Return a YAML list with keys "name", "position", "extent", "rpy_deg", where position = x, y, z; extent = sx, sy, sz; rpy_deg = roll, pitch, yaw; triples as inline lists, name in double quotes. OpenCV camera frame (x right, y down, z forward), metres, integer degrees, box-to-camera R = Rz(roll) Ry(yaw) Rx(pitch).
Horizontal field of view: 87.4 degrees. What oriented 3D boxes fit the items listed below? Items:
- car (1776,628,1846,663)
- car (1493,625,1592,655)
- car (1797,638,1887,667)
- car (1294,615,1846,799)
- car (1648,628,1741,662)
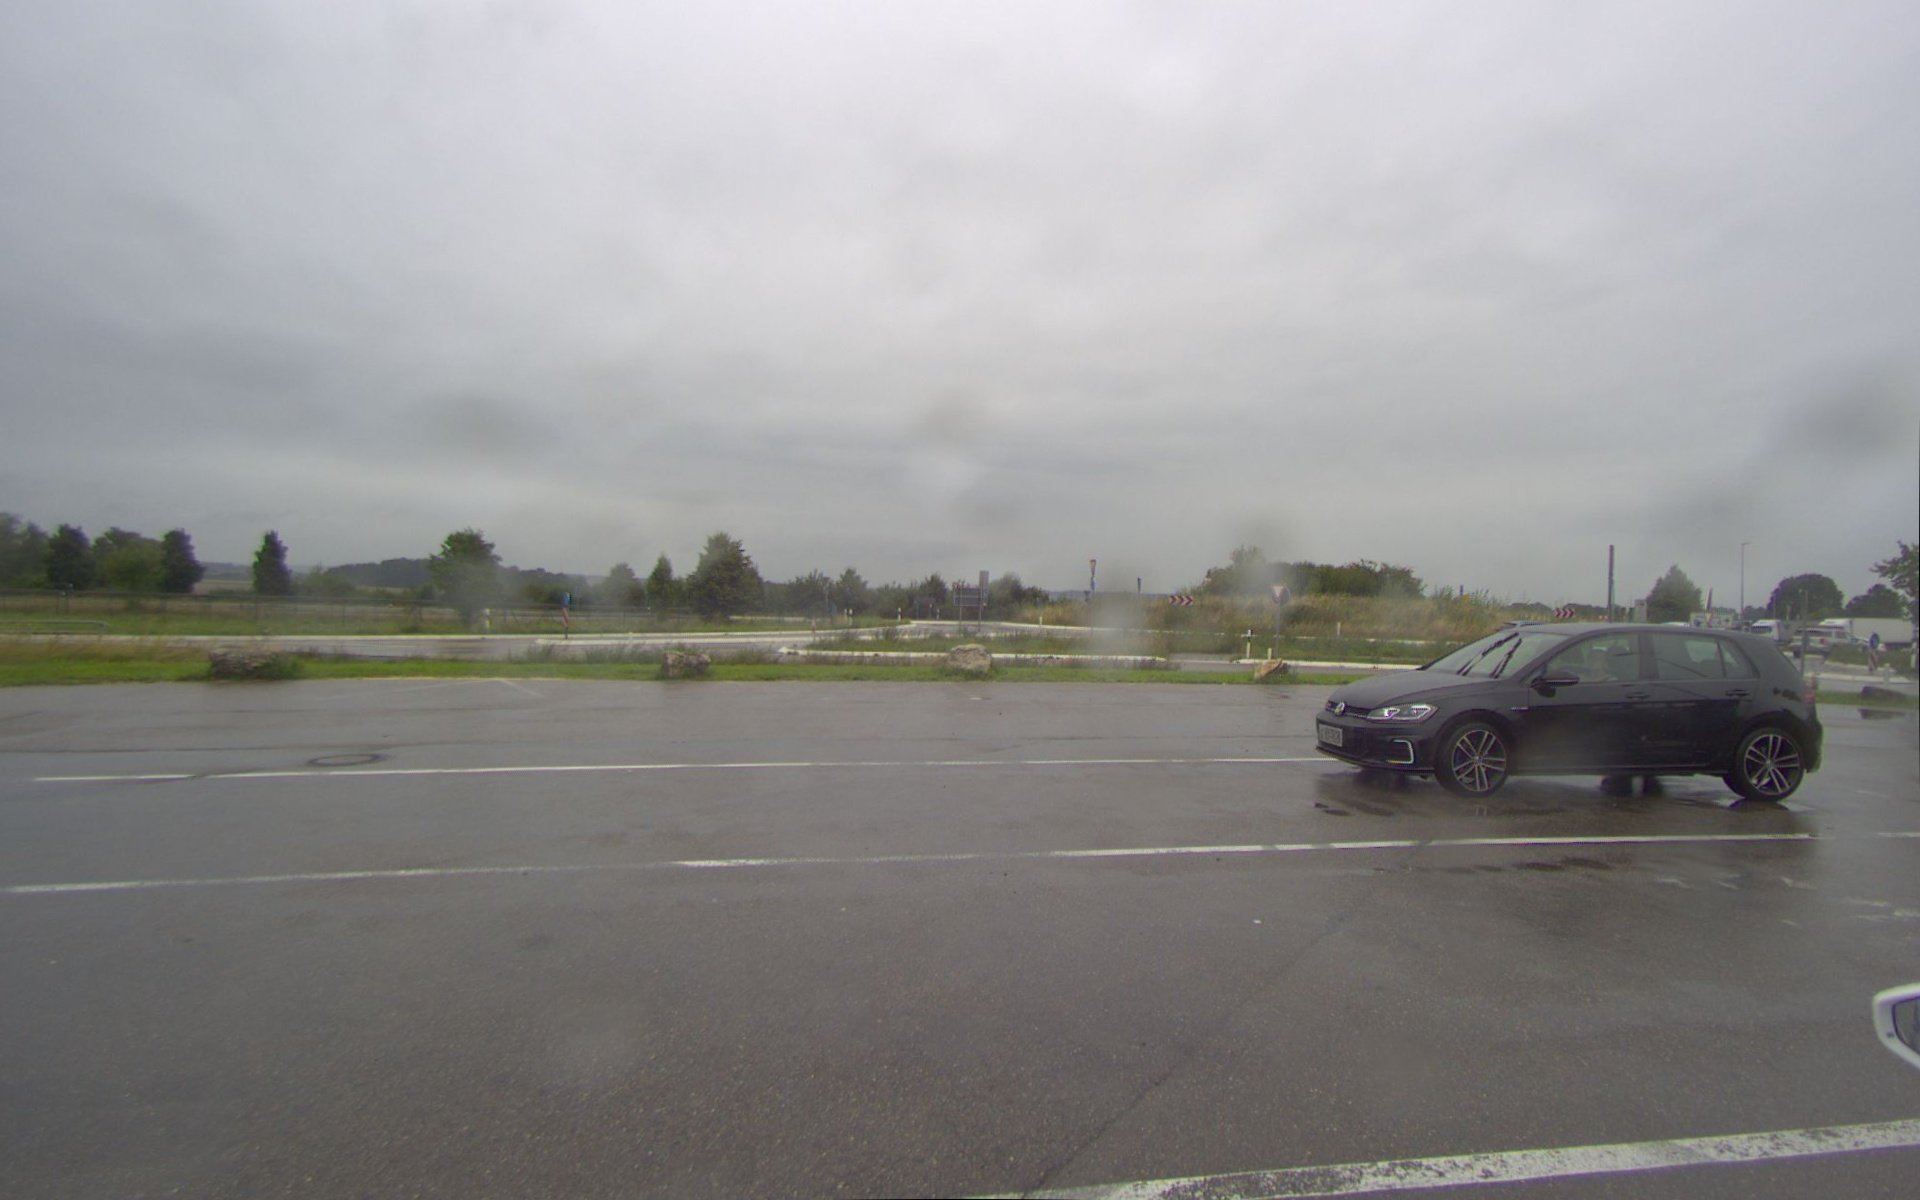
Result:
- name: "car"
  position: [49.742, 2.648, 58.694]
  extent: [4.598, 1.898, 1.981]
  rpy_deg: [2, -1, -35]
- name: "car"
  position: [28.670, 1.966, 49.479]
  extent: [3.966, 1.343, 1.693]
  rpy_deg: [1, -1, -4]
- name: "car"
  position: [60.724, 3.608, 69.221]
  extent: [4.279, 1.782, 1.749]
  rpy_deg: [2, -1, 17]
- name: "car"
  position: [5.349, 0.908, 9.148]
  extent: [4.000, 1.452, 1.779]
  rpy_deg: [1, 0, -4]
- name: "car"
  position: [37.155, 2.281, 50.806]
  extent: [4.318, 1.605, 1.686]
  rpy_deg: [1, -1, -19]
